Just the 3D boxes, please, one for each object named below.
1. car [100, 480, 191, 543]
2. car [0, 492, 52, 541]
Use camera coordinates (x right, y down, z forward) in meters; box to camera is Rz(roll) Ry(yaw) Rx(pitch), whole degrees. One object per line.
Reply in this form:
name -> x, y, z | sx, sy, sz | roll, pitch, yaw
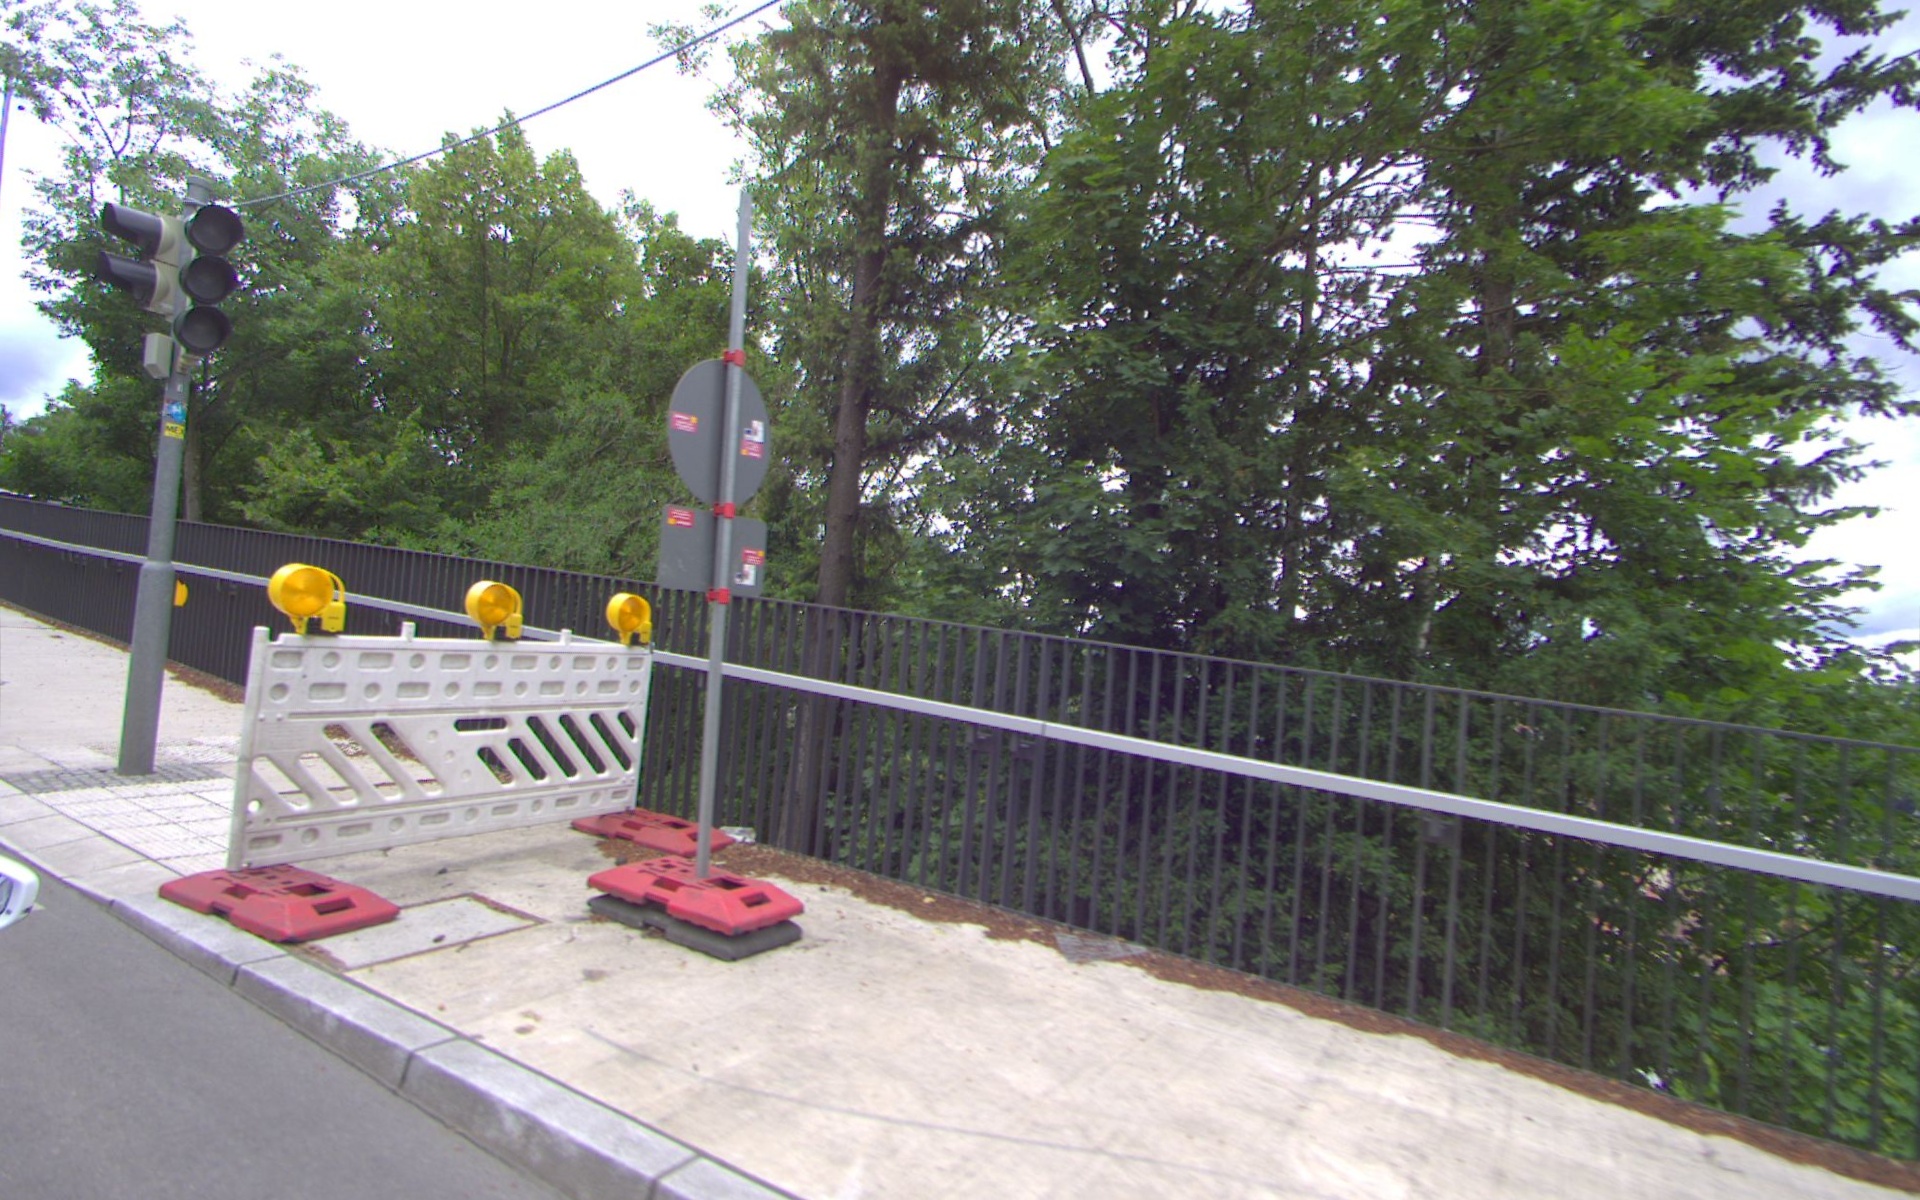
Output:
car -> -39.157, -4.167, 48.527 | 2.065, 2.555, 5.806 | 5, 0, -27
car -> -37.005, -3.326, 38.439 | 1.975, 1.603, 3.982 | 9, -3, -22
